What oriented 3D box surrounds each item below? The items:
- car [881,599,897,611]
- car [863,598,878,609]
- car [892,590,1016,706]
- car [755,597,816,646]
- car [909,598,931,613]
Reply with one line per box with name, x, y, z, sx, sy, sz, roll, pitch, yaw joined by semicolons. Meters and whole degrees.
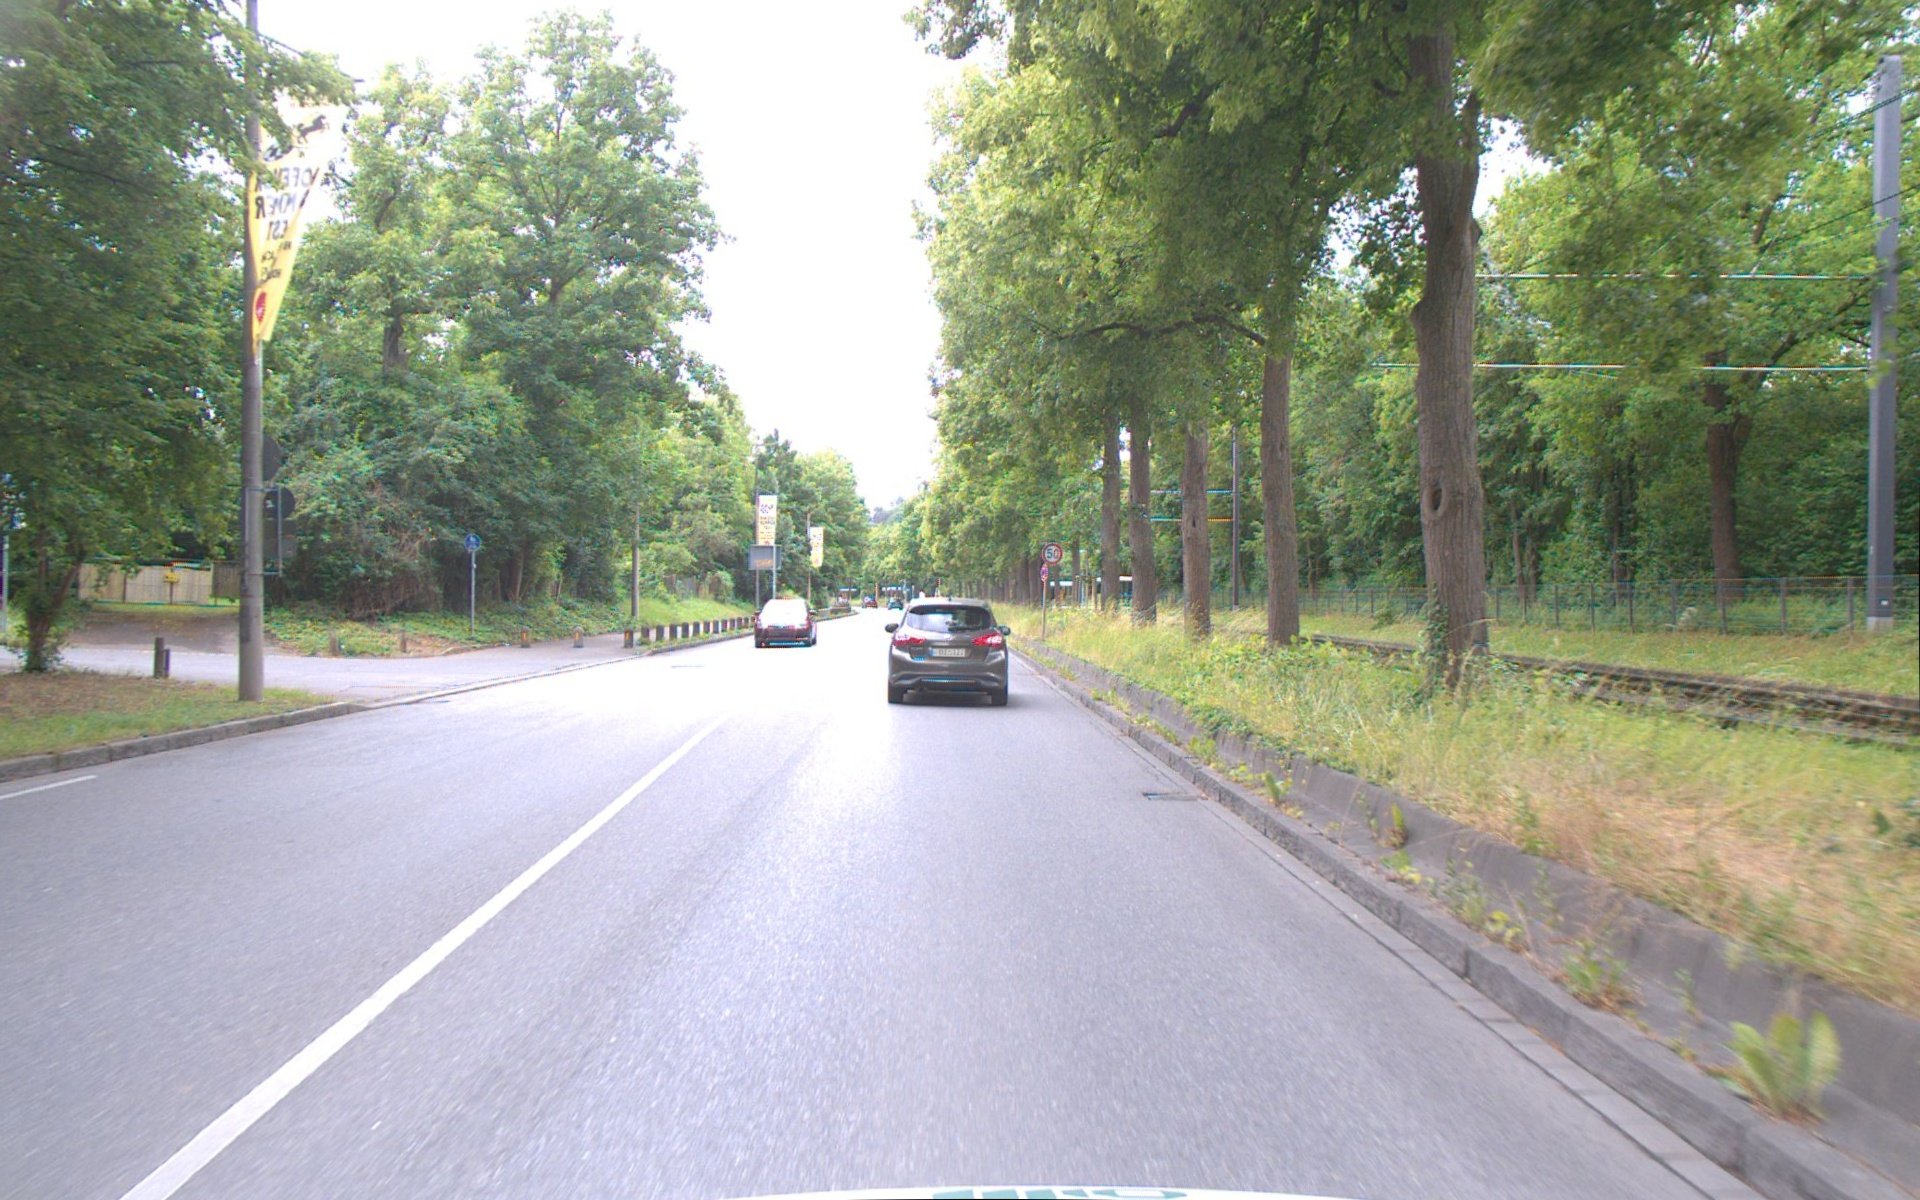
car;-9.035;0.657;211.365;1.533;1.466;3.542;2;0;-11
car;-13.094;0.518;242.224;1.535;1.466;3.539;2;0;-13
car;-0.130;0.664;24.824;1.695;1.564;3.550;2;0;-2
car;-5.409;0.639;51.573;1.682;1.453;4.194;-1;0;-4
car;-4.240;0.564;175.660;1.536;1.466;3.537;2;0;-15
